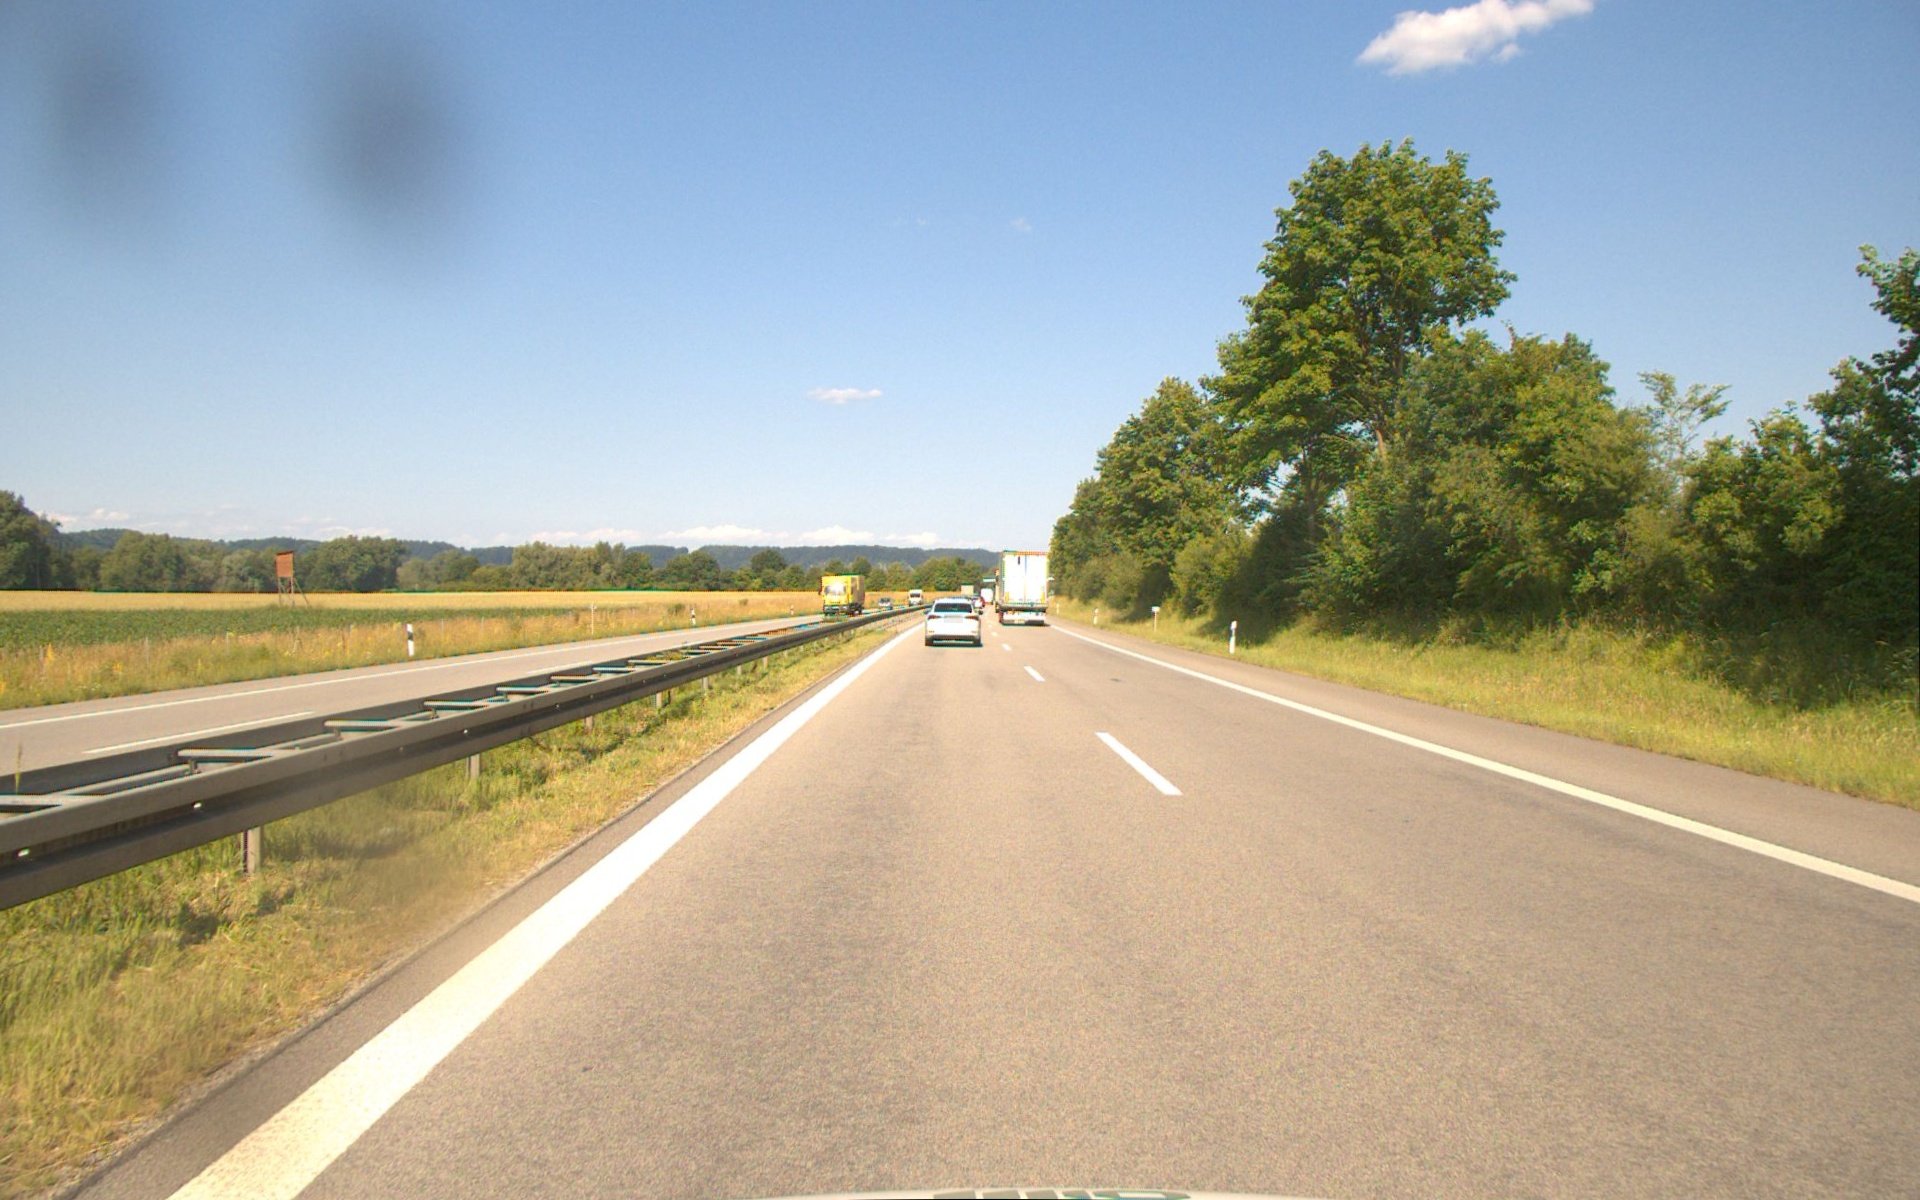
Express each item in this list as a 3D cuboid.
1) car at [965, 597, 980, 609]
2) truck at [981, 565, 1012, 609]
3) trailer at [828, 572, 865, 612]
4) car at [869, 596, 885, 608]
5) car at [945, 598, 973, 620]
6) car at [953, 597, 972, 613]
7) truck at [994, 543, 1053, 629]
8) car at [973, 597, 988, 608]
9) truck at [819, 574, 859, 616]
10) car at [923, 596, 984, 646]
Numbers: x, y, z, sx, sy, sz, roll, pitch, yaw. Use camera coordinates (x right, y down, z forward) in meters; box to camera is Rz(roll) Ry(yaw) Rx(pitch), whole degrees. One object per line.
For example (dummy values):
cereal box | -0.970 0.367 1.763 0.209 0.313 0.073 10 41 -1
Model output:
car | 1.536 0.379 197.809 1.735 1.446 4.364 1 0 0
truck | 3.574 -1.236 162.193 2.951 4.187 8.907 0 0 1
trailer | -10.566 -0.768 154.687 2.680 3.520 9.232 -2 0 0
car | -10.489 0.248 208.497 1.798 1.400 4.000 0 0 0
car | -0.076 0.577 108.585 1.735 1.446 4.494 1 0 -1
car | 0.224 0.476 153.938 1.735 1.446 4.364 1 0 0
truck | 3.549 -0.786 94.865 3.087 4.693 8.905 0 0 0
car | 2.737 0.319 220.230 1.734 1.446 4.367 1 0 4
truck | -10.565 -0.452 145.448 2.680 3.442 9.232 -3 0 0
car | -0.240 0.639 52.642 1.803 1.446 5.253 1 0 -1
